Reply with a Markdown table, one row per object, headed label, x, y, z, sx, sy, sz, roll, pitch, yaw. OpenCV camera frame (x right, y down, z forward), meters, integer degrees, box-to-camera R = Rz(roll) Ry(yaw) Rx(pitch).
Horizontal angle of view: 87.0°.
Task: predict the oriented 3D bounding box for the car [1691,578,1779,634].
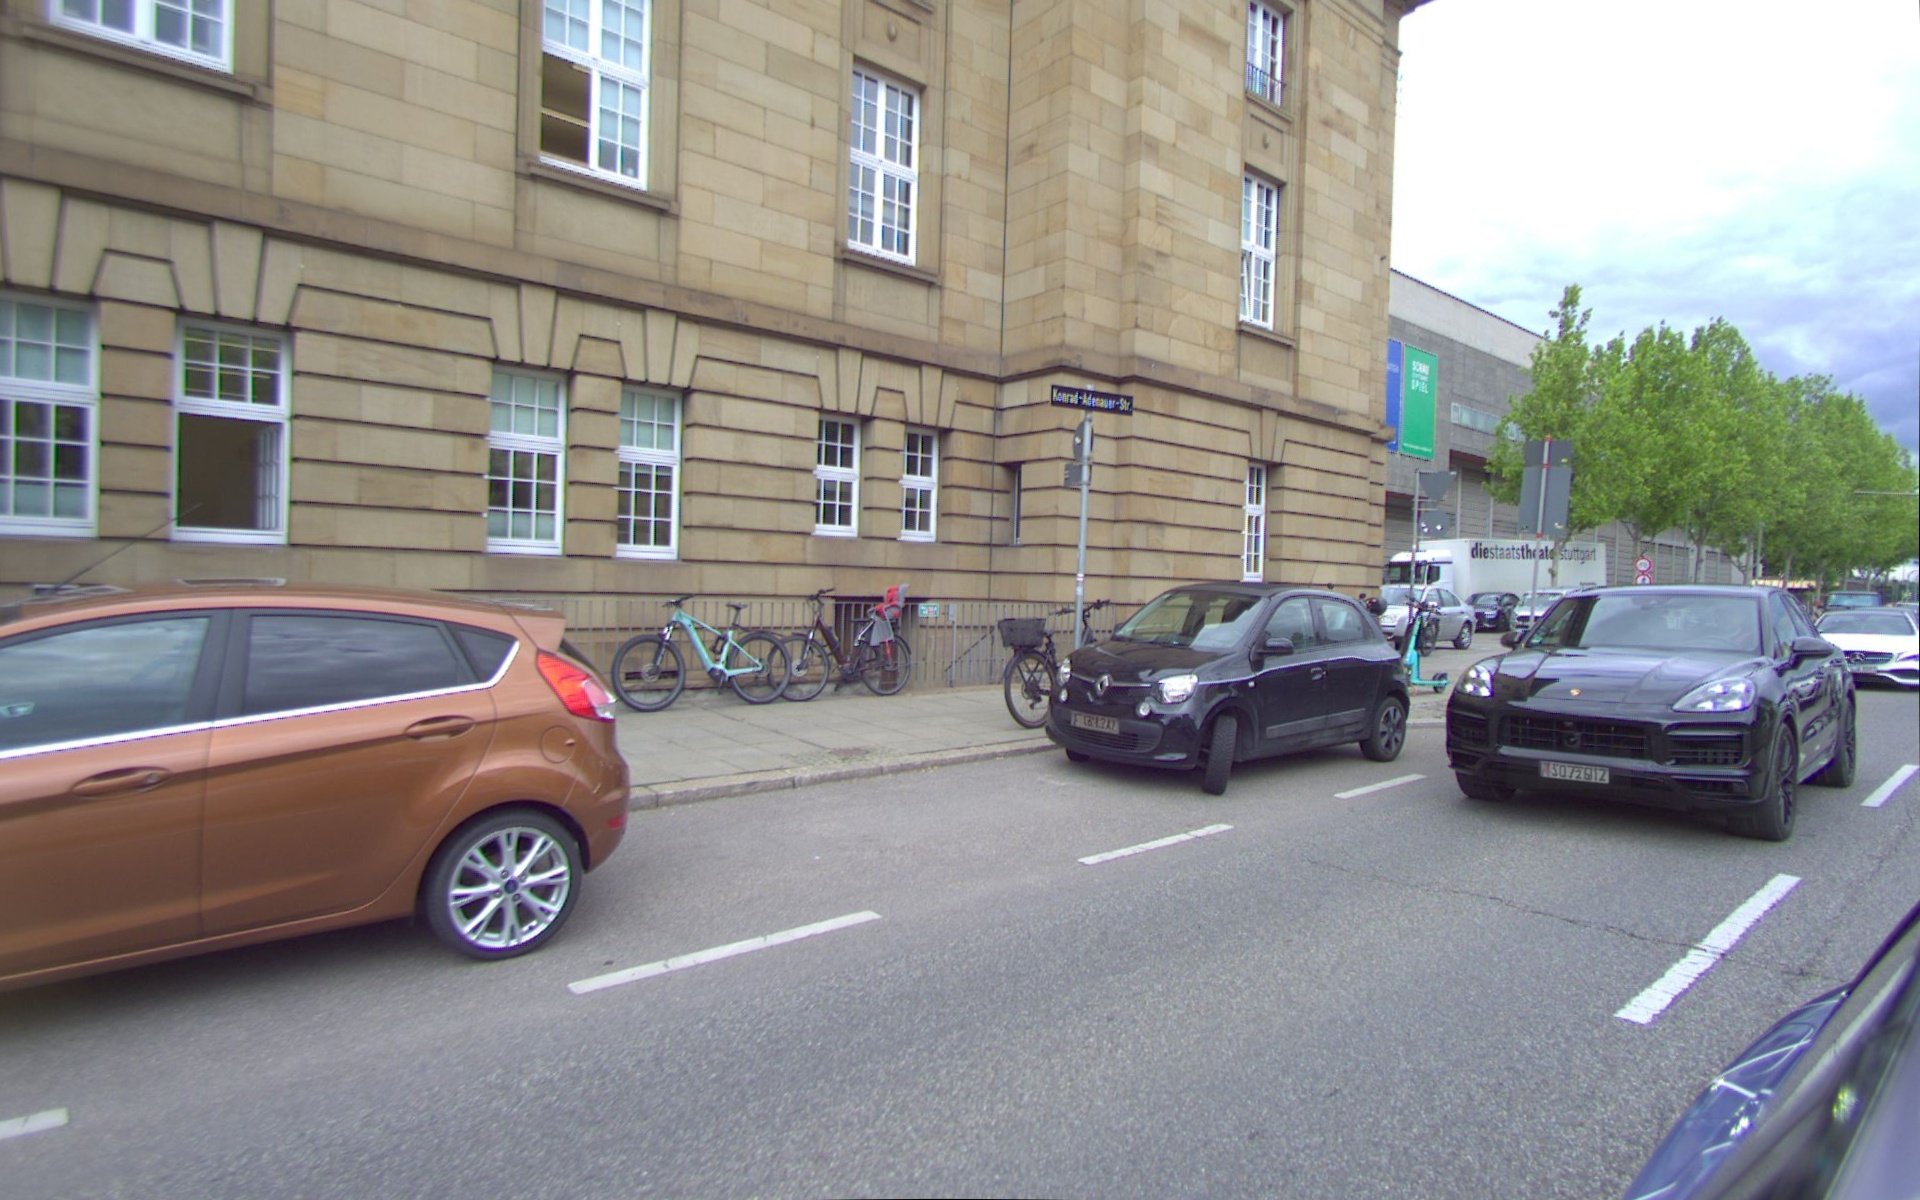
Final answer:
| label | x | y | z | sx | sy | sz | roll | pitch | yaw |
| --- | --- | --- | --- | --- | --- | --- | --- | --- | --- |
| car | 26.057 | 0.195 | 33.956 | 1.805 | 1.760 | 4.413 | 1 | 0 | 45 |

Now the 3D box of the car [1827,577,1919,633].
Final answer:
| label | x | y | z | sx | sy | sz | roll | pitch | yaw |
| --- | --- | --- | --- | --- | --- | --- | --- | --- | --- |
| car | 34.080 | 0.153 | 37.726 | 4.320 | 1.950 | 1.952 | 0 | 1 | -40 |

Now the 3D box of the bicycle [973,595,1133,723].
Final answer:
| label | x | y | z | sx | sy | sz | roll | pitch | yaw |
| --- | --- | --- | --- | --- | --- | --- | --- | --- | --- |
| bicycle | 0.957 | 0.540 | 10.072 | 1.799 | 1.171 | 0.460 | 0 | 1 | -41 |

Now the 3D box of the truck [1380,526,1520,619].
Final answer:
| label | x | y | z | sx | sy | sz | roll | pitch | yaw |
| --- | --- | --- | --- | --- | --- | --- | --- | --- | --- |
| truck | 23.257 | -1.256 | 47.980 | 6.446 | 4.136 | 3.144 | 0 | 1 | -33 |

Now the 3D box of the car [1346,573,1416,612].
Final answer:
| label | x | y | z | sx | sy | sz | roll | pitch | yaw |
| --- | --- | --- | --- | --- | --- | --- | --- | --- | --- |
| car | 21.576 | -0.385 | 51.828 | 3.926 | 1.905 | 1.559 | 0 | 0 | -37 |

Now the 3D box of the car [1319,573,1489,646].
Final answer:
| label | x | y | z | sx | sy | sz | roll | pitch | yaw |
| --- | --- | --- | --- | --- | --- | --- | --- | --- | --- |
| car | 10.045 | 0.195 | 22.725 | 4.495 | 1.488 | 1.781 | 1 | 0 | -41 |

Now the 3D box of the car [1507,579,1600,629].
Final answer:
| label | x | y | z | sx | sy | sz | roll | pitch | yaw |
| --- | --- | --- | --- | --- | --- | --- | --- | --- | --- |
| car | 22.983 | 0.147 | 39.105 | 4.542 | 1.807 | 1.807 | 0 | -2 | -42 |

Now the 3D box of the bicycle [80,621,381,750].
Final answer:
| label | x | y | z | sx | sy | sz | roll | pitch | yaw |
| --- | --- | --- | --- | --- | --- | --- | --- | --- | --- |
| bicycle | -5.522 | 0.612 | 7.766 | 1.844 | 0.855 | 0.307 | -1 | 0 | -39 |

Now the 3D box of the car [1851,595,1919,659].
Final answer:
| label | x | y | z | sx | sy | sz | roll | pitch | yaw |
| --- | --- | --- | --- | --- | --- | --- | --- | --- | --- |
| car | 24.032 | 0.644 | 25.807 | 3.561 | 1.491 | 1.610 | 0 | 1 | -43 |

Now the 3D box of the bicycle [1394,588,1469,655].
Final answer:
| label | x | y | z | sx | sy | sz | roll | pitch | yaw |
| --- | --- | --- | --- | --- | --- | --- | --- | --- | --- |
| bicycle | 9.367 | 0.408 | 20.063 | 1.929 | 1.239 | 0.610 | 0 | 4 | -43 |

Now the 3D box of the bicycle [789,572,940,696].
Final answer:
| label | x | y | z | sx | sy | sz | roll | pitch | yaw |
| --- | --- | --- | --- | --- | --- | --- | --- | --- | --- |
| bicycle | -1.042 | 0.353 | 11.403 | 1.759 | 1.304 | 0.413 | 0 | 1 | -40 |

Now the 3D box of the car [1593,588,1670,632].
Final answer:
| label | x | y | z | sx | sy | sz | roll | pitch | yaw |
| --- | --- | --- | --- | --- | --- | --- | --- | --- | --- |
| car | 24.643 | 0.339 | 37.116 | 3.444 | 1.549 | 1.582 | 0 | 1 | -42 |

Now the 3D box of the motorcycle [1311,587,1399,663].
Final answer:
| label | x | y | z | sx | sy | sz | roll | pitch | yaw |
| --- | --- | --- | --- | --- | --- | --- | --- | --- | --- |
| motorcycle | 6.855 | 0.411 | 17.510 | 1.887 | 1.257 | 0.456 | 0 | 2 | -37 |

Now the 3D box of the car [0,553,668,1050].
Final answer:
| label | x | y | z | sx | sy | sz | roll | pitch | yaw |
| --- | --- | --- | --- | --- | --- | --- | --- | --- | --- |
| car | -3.236 | 0.578 | 3.777 | 3.790 | 1.473 | 1.619 | 0 | 3 | -41 |

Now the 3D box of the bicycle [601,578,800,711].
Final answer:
| label | x | y | z | sx | sy | sz | roll | pitch | yaw |
| --- | --- | --- | --- | --- | --- | --- | --- | --- | --- |
| bicycle | -2.587 | 0.407 | 10.237 | 1.882 | 1.232 | 0.556 | 0 | 1 | -40 |

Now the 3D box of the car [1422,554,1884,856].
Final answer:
| label | x | y | z | sx | sy | sz | roll | pitch | yaw |
| --- | --- | --- | --- | --- | --- | --- | --- | --- | --- |
| car | 5.431 | 0.572 | 7.724 | 4.127 | 1.679 | 1.906 | -1 | 0 | -41 |

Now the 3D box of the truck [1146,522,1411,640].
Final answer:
| label | x | y | z | sx | sy | sz | roll | pitch | yaw |
| --- | --- | --- | --- | --- | --- | --- | --- | --- | --- |
| truck | 12.647 | -0.890 | 41.476 | 2.946 | 4.257 | 10.377 | 0 | 2 | -40 |

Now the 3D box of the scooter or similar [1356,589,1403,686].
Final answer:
| label | x | y | z | sx | sy | sz | roll | pitch | yaw |
| --- | --- | --- | --- | --- | --- | --- | --- | --- | --- |
| scooter or similar | 5.931 | 0.499 | 14.285 | 0.448 | 1.268 | 1.355 | 1 | 2 | 29 |

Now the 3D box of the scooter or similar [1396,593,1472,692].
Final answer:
| label | x | y | z | sx | sy | sz | roll | pitch | yaw |
| --- | --- | --- | --- | --- | --- | --- | --- | --- | --- |
| scooter or similar | 6.400 | 0.547 | 13.637 | 1.378 | 1.277 | 0.380 | 0 | 1 | -40 |

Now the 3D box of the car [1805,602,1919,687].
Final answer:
| label | x | y | z | sx | sy | sz | roll | pitch | yaw |
| --- | --- | --- | --- | --- | --- | --- | --- | --- | --- |
| car | 17.200 | 0.751 | 18.807 | 3.935 | 1.393 | 1.931 | 0 | 1 | -45 |

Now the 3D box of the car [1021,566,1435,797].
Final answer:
| label | x | y | z | sx | sy | sz | roll | pitch | yaw |
| --- | --- | --- | --- | --- | --- | --- | --- | --- | --- |
| car | 2.410 | 0.548 | 8.709 | 3.641 | 1.571 | 1.550 | 0 | 2 | -39 |

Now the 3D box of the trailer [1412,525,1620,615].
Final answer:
| label | x | y | z | sx | sy | sz | roll | pitch | yaw |
| --- | --- | --- | --- | --- | --- | --- | --- | --- | --- |
| trailer | 28.473 | -1.432 | 51.390 | 13.701 | 4.153 | 3.159 | -1 | 0 | -33 |

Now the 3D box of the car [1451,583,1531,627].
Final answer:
| label | x | y | z | sx | sy | sz | roll | pitch | yaw |
| --- | --- | --- | --- | --- | --- | --- | --- | --- | --- |
| car | 21.478 | 0.181 | 40.856 | 3.697 | 1.710 | 1.717 | 0 | 1 | -42 |
